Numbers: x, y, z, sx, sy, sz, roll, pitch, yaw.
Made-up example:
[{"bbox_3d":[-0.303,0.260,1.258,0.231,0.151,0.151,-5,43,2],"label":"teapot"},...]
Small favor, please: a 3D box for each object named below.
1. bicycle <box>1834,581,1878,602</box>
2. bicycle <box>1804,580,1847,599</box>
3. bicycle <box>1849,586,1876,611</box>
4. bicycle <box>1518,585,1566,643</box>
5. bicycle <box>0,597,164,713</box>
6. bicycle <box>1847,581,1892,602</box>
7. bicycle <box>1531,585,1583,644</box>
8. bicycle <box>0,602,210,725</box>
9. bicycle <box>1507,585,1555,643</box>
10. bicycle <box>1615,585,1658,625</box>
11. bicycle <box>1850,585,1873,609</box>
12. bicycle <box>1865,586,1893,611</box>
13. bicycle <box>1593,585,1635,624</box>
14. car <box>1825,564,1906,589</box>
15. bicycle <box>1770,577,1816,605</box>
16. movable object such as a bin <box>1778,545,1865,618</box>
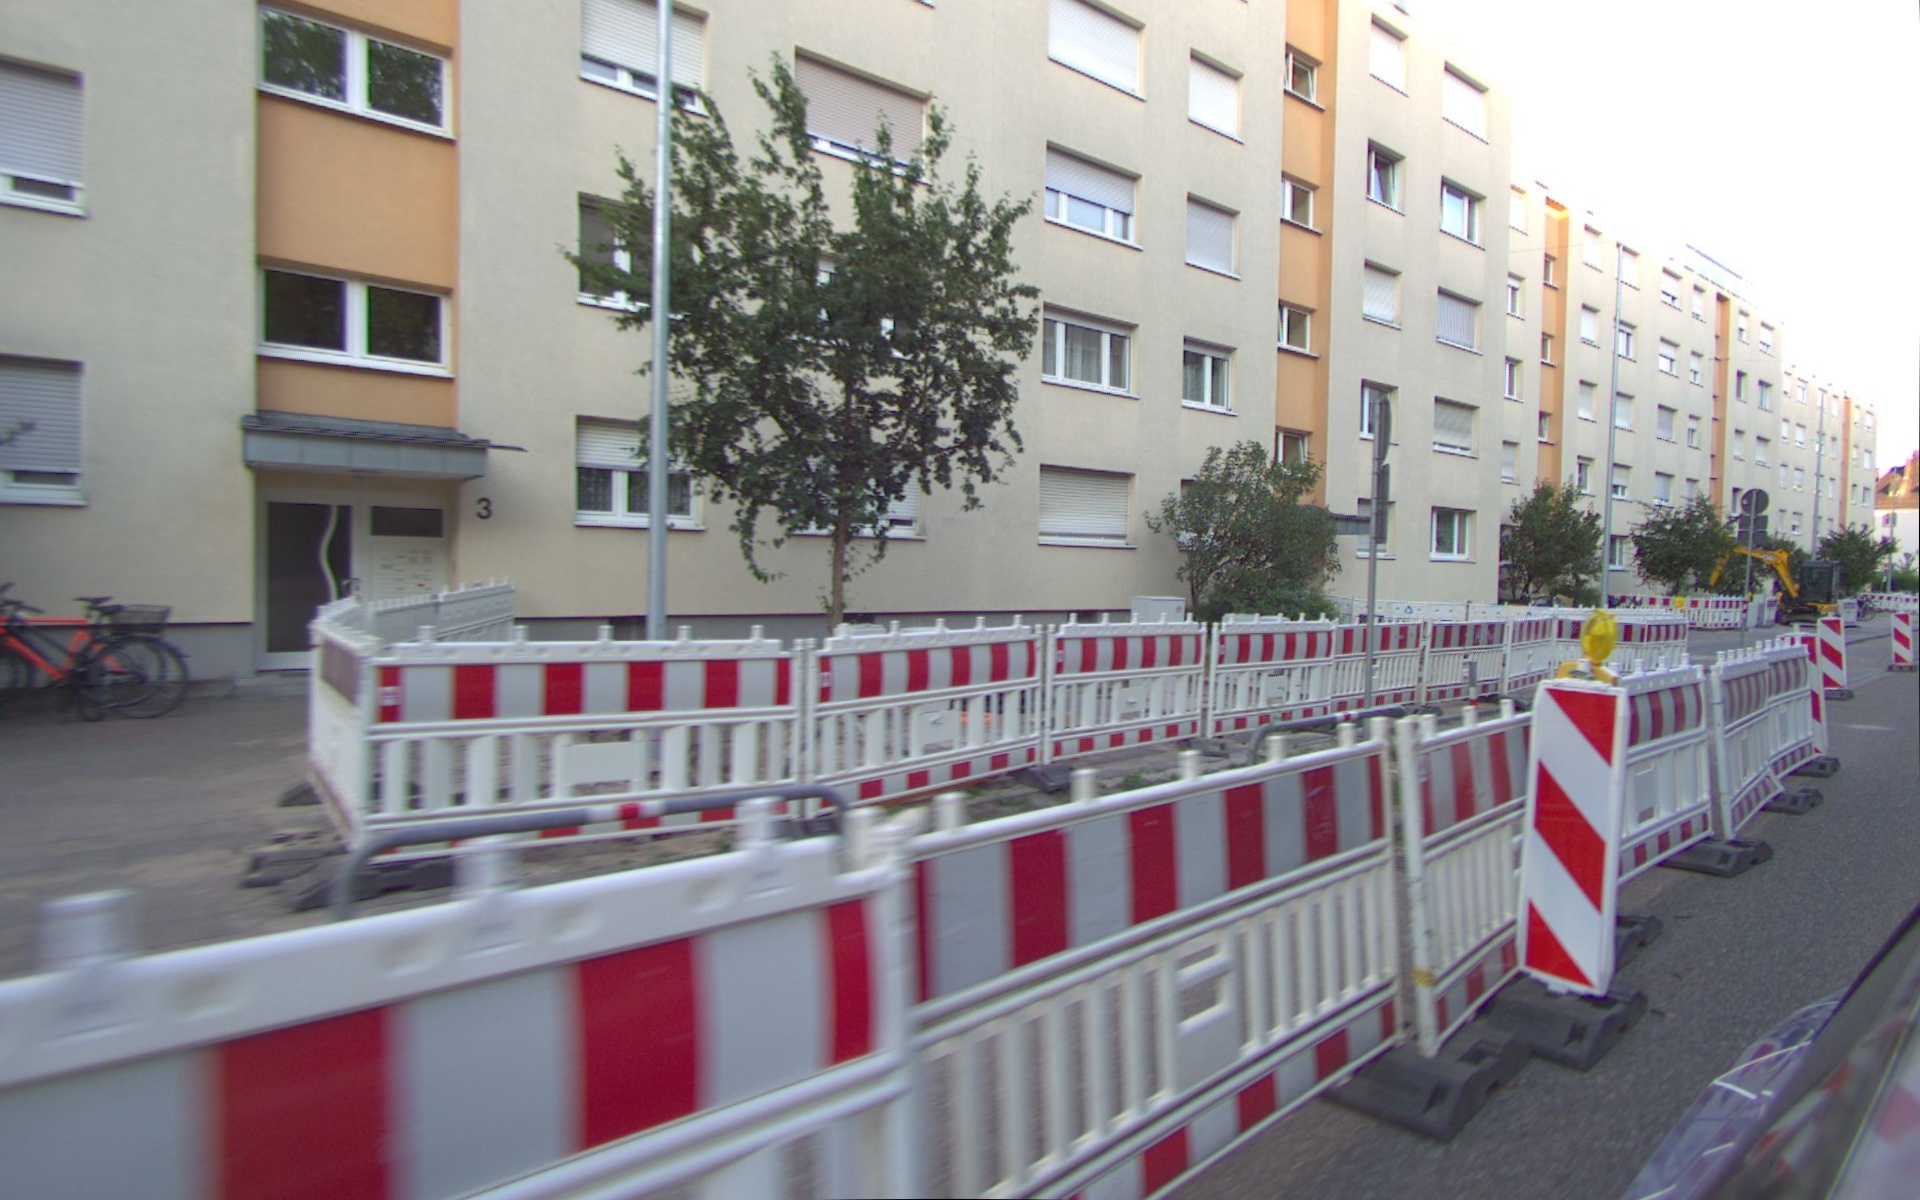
[{"bbox_3d":[51.804,-0.515,58.518,0.547,0.998,1.762,0,7,-31],"label":"bicycle"},{"bbox_3d":[51.543,-0.645,60.274,1.787,0.931,0.557,4,6,9],"label":"bicycle"},{"bbox_3d":[43.144,-0.083,48.388,0.623,1.186,1.796,1,2,32],"label":"bicycle"},{"bbox_3d":[12.934,0.295,22.470,1.879,1.237,0.398,-1,2,-43],"label":"bicycle"},{"bbox_3d":[-8.281,0.480,9.166,1.665,0.980,0.545,0,2,-37],"label":"bicycle"},{"bbox_3d":[53.323,-0.502,59.362,0.548,1.034,1.817,-1,8,-39],"label":"bicycle"},{"bbox_3d":[13.179,0.296,22.318,1.879,1.237,0.452,-1,2,-43],"label":"bicycle"},{"bbox_3d":[-7.566,0.521,8.649,1.776,0.980,0.547,0,1,-17],"label":"bicycle"},{"bbox_3d":[12.822,0.290,22.706,1.795,1.237,0.398,-1,2,-43],"label":"bicycle"},{"bbox_3d":[20.806,0.134,31.104,1.784,1.186,0.557,-1,2,-39],"label":"bicycle"},{"bbox_3d":[45.814,-0.159,51.435,1.784,1.186,0.557,-1,2,-39],"label":"bicycle"},{"bbox_3d":[43.849,-0.087,48.317,0.553,1.186,1.798,1,2,29],"label":"bicycle"},{"bbox_3d":[20.630,0.122,31.920,1.784,1.186,0.557,-1,2,-39],"label":"bicycle"},{"bbox_3d":[82.405,-2.180,92.191,2.245,2.156,5.040,0,2,-33],"label":"car"},{"bbox_3d":[38.216,-0.435,46.446,1.592,1.237,0.478,2,2,44],"label":"bicycle"},{"bbox_3d":[33.342,-0.728,39.168,2.837,2.726,1.939,0,2,-36],"label":"movable object such as a bin"}]
